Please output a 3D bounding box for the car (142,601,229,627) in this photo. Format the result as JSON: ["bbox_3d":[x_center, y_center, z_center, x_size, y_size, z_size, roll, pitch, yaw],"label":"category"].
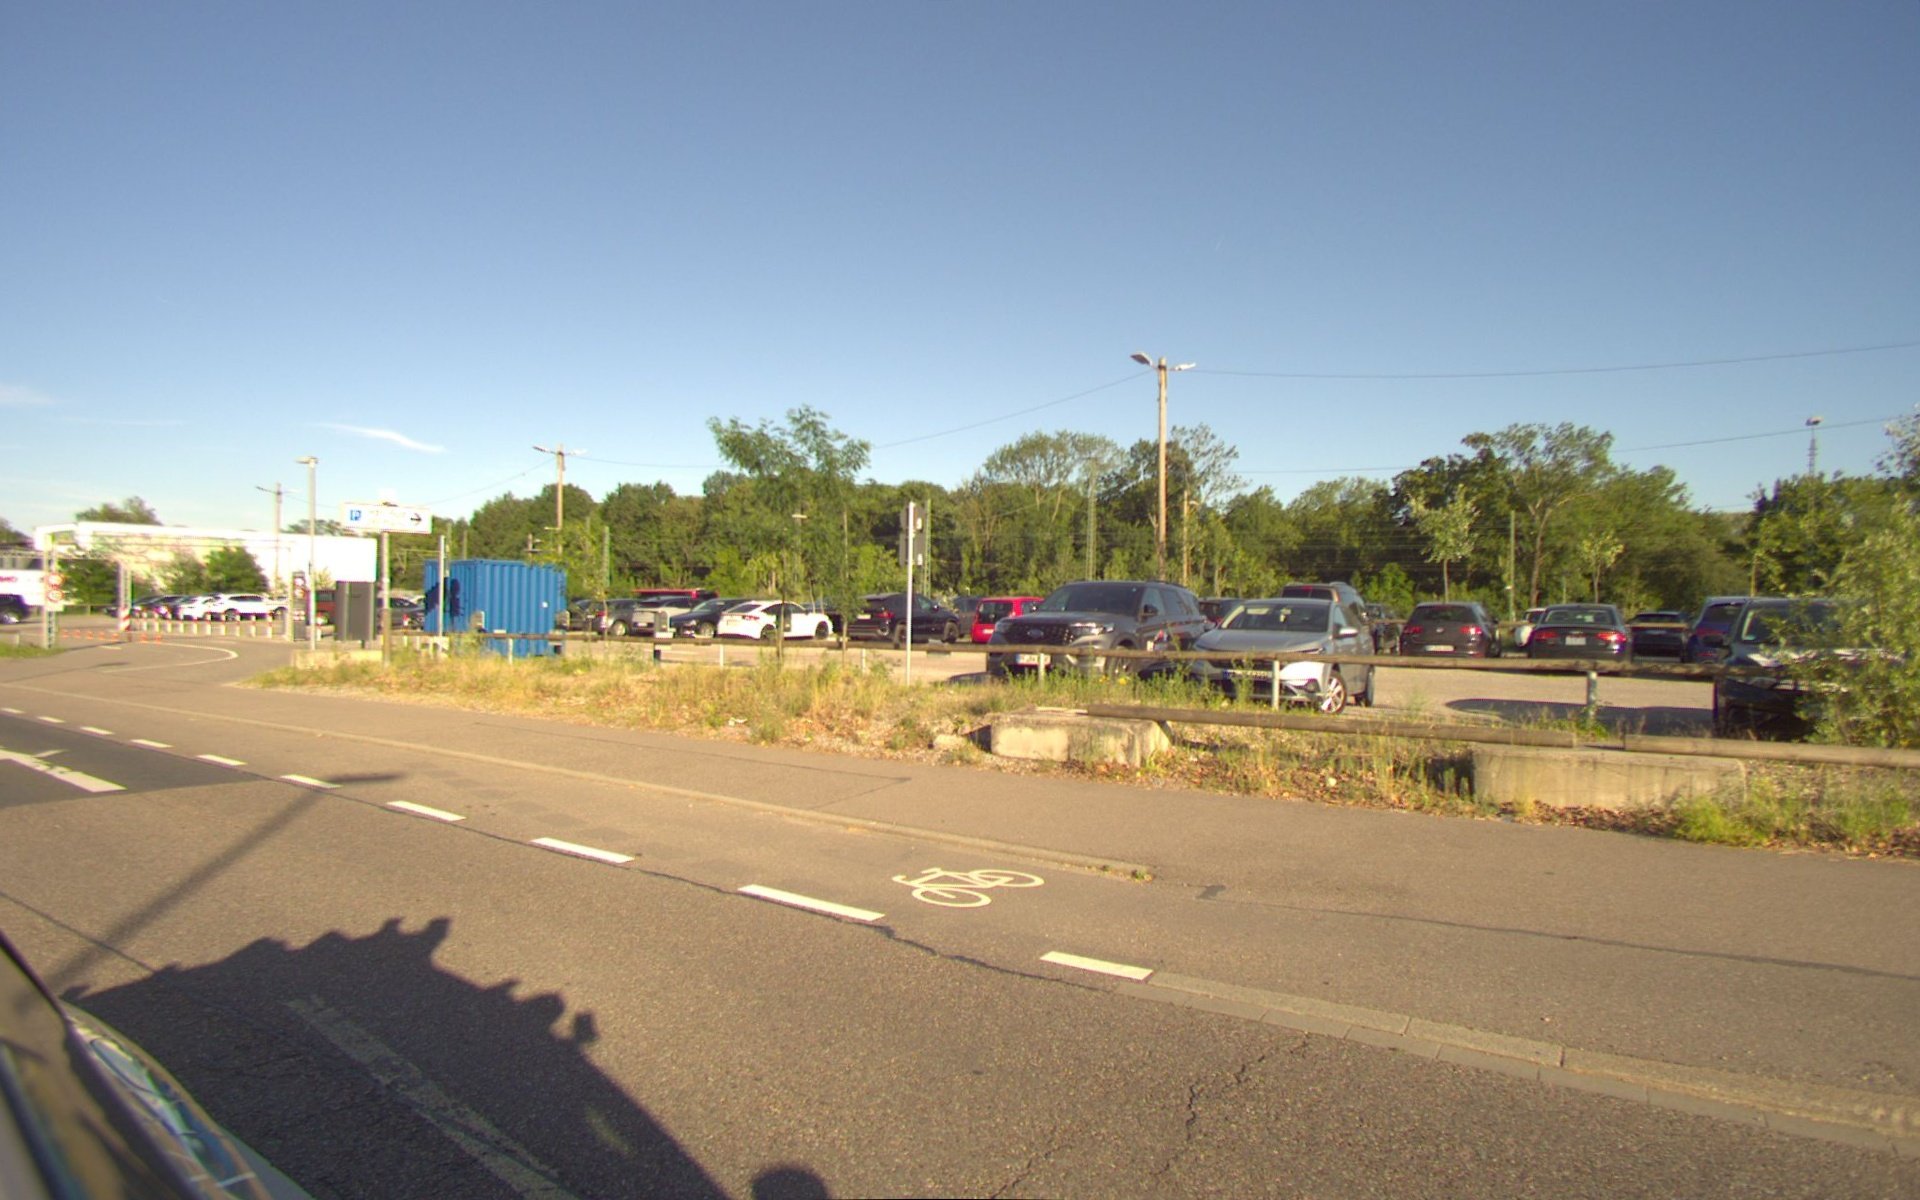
[{"bbox_3d":[-48.777,0.858,63.823,1.759,1.498,3.971,-1,1,30],"label":"car"}]

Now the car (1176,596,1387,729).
[{"bbox_3d":[4.371,0.710,13.367,1.832,1.464,3.884,-1,-1,31],"label":"car"}]

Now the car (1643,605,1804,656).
[{"bbox_3d":[23.406,0.902,31.217,3.857,1.457,1.976,0,-1,36],"label":"car"}]

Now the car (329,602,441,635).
[{"bbox_3d":[-28.189,0.879,49.695,1.921,1.455,4.387,-1,1,41],"label":"car"}]

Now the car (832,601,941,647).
[{"bbox_3d":[-2.739,0.861,38.537,1.864,1.563,4.397,-1,1,33],"label":"car"}]

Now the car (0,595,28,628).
[{"bbox_3d":[-53.593,0.659,54.553,1.797,1.754,4.604,-1,1,33],"label":"car"}]

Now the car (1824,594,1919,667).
[{"bbox_3d":[20.457,0.614,22.188,1.983,1.485,4.151,-1,0,36],"label":"car"}]

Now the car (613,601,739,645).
[{"bbox_3d":[-10.541,0.819,37.841,1.864,1.477,4.397,-1,1,33],"label":"car"}]

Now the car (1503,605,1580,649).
[{"bbox_3d":[20.486,0.909,35.566,1.874,1.442,3.884,-1,0,37],"label":"car"}]

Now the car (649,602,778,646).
[{"bbox_3d":[-8.667,0.793,35.910,1.864,1.454,4.397,-1,0,33],"label":"car"}]

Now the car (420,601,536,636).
[{"bbox_3d":[-21.547,0.796,45.373,1.864,1.388,4.397,-1,1,33],"label":"car"}]

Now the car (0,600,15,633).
[{"bbox_3d":[-55.852,0.939,56.114,1.995,1.813,4.758,-1,0,35],"label":"car"}]

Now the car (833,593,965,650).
[{"bbox_3d":[-1.811,0.607,31.181,1.981,1.601,4.155,-1,1,33],"label":"car"}]

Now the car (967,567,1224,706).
[{"bbox_3d":[2.198,0.562,15.181,2.063,1.756,4.485,-1,-3,34],"label":"car"}]

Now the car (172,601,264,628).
[{"bbox_3d":[-44.493,0.831,60.758,1.755,1.497,4.115,-1,1,31],"label":"car"}]

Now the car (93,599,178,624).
[{"bbox_3d":[-55.781,0.761,68.584,1.728,1.621,4.285,-1,0,15],"label":"car"}]

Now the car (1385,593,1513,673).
[{"bbox_3d":[10.996,0.685,22.629,1.995,1.606,3.953,-1,-1,35],"label":"car"}]

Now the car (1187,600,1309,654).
[{"bbox_3d":[8.716,0.758,30.411,2.090,1.482,4.061,-1,0,40],"label":"car"}]

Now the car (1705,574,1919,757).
[{"bbox_3d":[8.815,0.572,10.351,1.852,1.527,3.951,-1,-1,36],"label":"car"}]

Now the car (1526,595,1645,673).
[{"bbox_3d":[12.880,0.638,20.744,1.757,1.442,3.950,-1,-1,36],"label":"car"}]

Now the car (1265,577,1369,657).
[{"bbox_3d":[8.581,0.336,24.158,1.763,1.746,3.743,-1,1,29],"label":"car"}]

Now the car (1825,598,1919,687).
[{"bbox_3d":[17.490,0.731,18.755,1.830,1.519,3.707,-1,-1,35],"label":"car"}]

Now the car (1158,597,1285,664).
[{"bbox_3d":[6.700,0.703,25.704,1.887,1.498,3.896,0,1,35],"label":"car"}]

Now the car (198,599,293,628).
[{"bbox_3d":[-42.256,0.787,59.927,1.821,1.558,4.252,-1,1,31],"label":"car"}]

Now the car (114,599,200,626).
[{"bbox_3d":[-53.447,0.816,67.464,1.770,1.637,4.300,-1,0,15],"label":"car"}]

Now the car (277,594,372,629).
[{"bbox_3d":[-34.533,0.602,55.063,1.869,1.790,4.019,-1,1,41],"label":"car"}]

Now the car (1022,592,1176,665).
[{"bbox_3d":[3.787,0.679,26.916,2.037,1.707,4.643,-1,1,37],"label":"car"}]

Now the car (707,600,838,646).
[{"bbox_3d":[-6.309,0.737,34.535,1.864,1.388,4.397,-1,1,33],"label":"car"}]

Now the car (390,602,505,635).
[{"bbox_3d":[-23.538,0.811,46.613,1.864,1.388,4.397,-1,1,33],"label":"car"}]

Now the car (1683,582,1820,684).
[{"bbox_3d":[15.029,0.551,19.397,1.824,1.593,3.954,-1,3,35],"label":"car"}]

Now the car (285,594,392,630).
[{"bbox_3d":[-32.322,0.594,52.701,1.869,1.790,4.386,-1,1,41],"label":"car"}]

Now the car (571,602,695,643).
[{"bbox_3d":[-12.671,0.842,39.450,1.864,1.440,4.397,-1,1,33],"label":"car"}]

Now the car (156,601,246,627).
[{"bbox_3d":[-46.564,0.843,62.169,1.759,1.498,4.114,-1,1,30],"label":"car"}]

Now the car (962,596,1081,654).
[{"bbox_3d":[1.847,0.662,29.285,1.721,1.516,3.955,0,1,33],"label":"car"}]
